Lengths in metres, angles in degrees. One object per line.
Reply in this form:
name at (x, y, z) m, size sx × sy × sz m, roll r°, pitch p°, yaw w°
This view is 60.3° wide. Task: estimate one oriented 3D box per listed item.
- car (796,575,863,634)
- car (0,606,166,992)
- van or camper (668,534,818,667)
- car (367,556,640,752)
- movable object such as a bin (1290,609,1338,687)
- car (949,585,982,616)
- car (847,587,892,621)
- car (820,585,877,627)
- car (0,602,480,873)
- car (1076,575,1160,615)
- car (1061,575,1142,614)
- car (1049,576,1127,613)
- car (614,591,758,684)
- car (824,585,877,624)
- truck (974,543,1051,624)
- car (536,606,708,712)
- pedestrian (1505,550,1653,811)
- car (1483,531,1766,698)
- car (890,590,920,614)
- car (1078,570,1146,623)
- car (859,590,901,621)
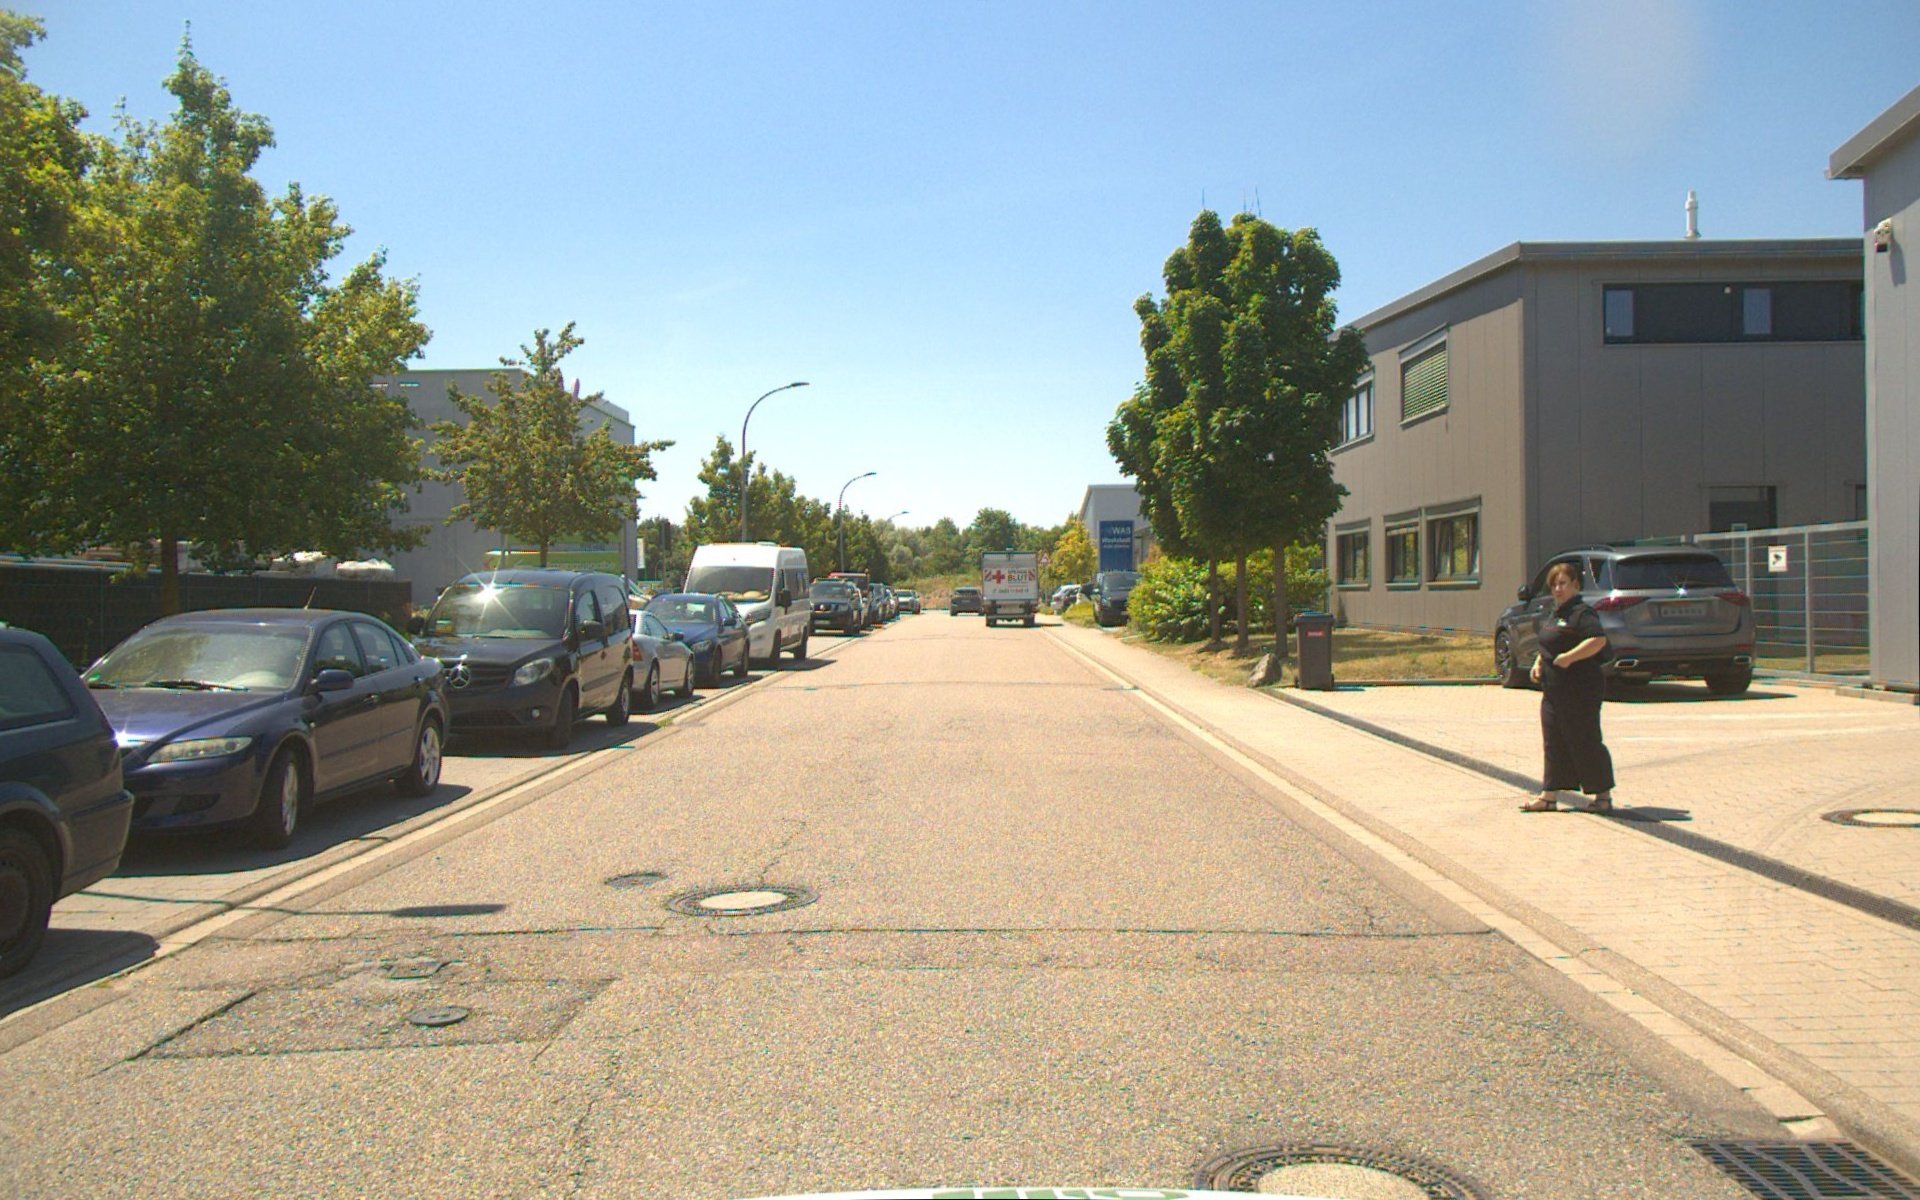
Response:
car at (-4.294, 0.128, 54.966) m, size 1.762 × 1.881 × 4.254 m, roll 0°, pitch 1°, yaw 2°
car at (-4.746, 0.781, 5.351) m, size 1.761 × 1.502 × 4.640 m, roll 0°, pitch 0°, yaw 6°
van or camper at (-4.467, 0.005, 35.044) m, size 2.035 × 2.526 × 6.133 m, roll 1°, pitch 0°, yaw 3°
car at (-4.732, 0.508, 17.772) m, size 1.762 × 1.846 × 4.252 m, roll 0°, pitch 0°, yaw 0°
movable object such as a bin at (5.013, 0.668, 23.437) m, size 0.520 × 1.071 × 0.845 m, roll -1°, pitch 0°, yaw 2°
car at (0.294, 0.049, 92.095) m, size 1.753 × 1.652 × 3.809 m, roll 1°, pitch 0°, yaw 0°
car at (-4.259, 0.175, 78.172) m, size 1.762 × 1.513 × 4.254 m, roll 0°, pitch 1°, yaw 2°
car at (-4.207, 0.202, 62.934) m, size 1.762 × 1.513 × 4.254 m, roll 0°, pitch 1°, yaw 2°
car at (-4.893, 0.772, 11.546) m, size 1.762 × 1.502 × 4.588 m, roll 0°, pitch 0°, yaw 0°
car at (7.598, -0.242, 79.510) m, size 3.798 × 1.780 × 1.751 m, roll 2°, pitch 0°, yaw -2°
car at (6.976, -0.260, 81.682) m, size 3.798 × 1.780 × 1.751 m, roll 2°, pitch 0°, yaw -2°
car at (6.506, -0.275, 84.345) m, size 3.798 × 1.780 × 1.751 m, roll 2°, pitch 0°, yaw -2°
car at (-4.584, 0.589, 28.250) m, size 1.762 × 1.475 × 4.252 m, roll 0°, pitch 0°, yaw 0°
car at (-4.484, 0.166, 68.171) m, size 1.762 × 1.513 × 4.254 m, roll 0°, pitch 1°, yaw 2°
truck at (2.043, -0.624, 66.603) m, size 2.872 × 3.026 × 6.419 m, roll 1°, pitch 0°, yaw 1°
car at (-4.602, 0.761, 23.008) m, size 1.447 × 1.320 × 3.900 m, roll 0°, pitch 0°, yaw 2°
pedestrian at (4.098, 0.518, 10.986) m, size 0.492 × 1.641 × 0.711 m, roll -4°, pitch 0°, yaw -16°
car at (8.195, 0.187, 20.918) m, size 1.748 × 1.814 × 4.906 m, roll -2°, pitch -1°, yaw 3°
car at (-3.705, 0.118, 112.588) m, size 1.762 × 1.513 × 4.254 m, roll 0°, pitch 1°, yaw 2°
car at (5.467, -0.137, 60.041) m, size 1.953 × 1.835 × 4.138 m, roll -1°, pitch 0°, yaw -2°
car at (-4.040, 0.251, 83.627) m, size 1.762 × 1.513 × 4.254 m, roll 0°, pitch 1°, yaw 2°
